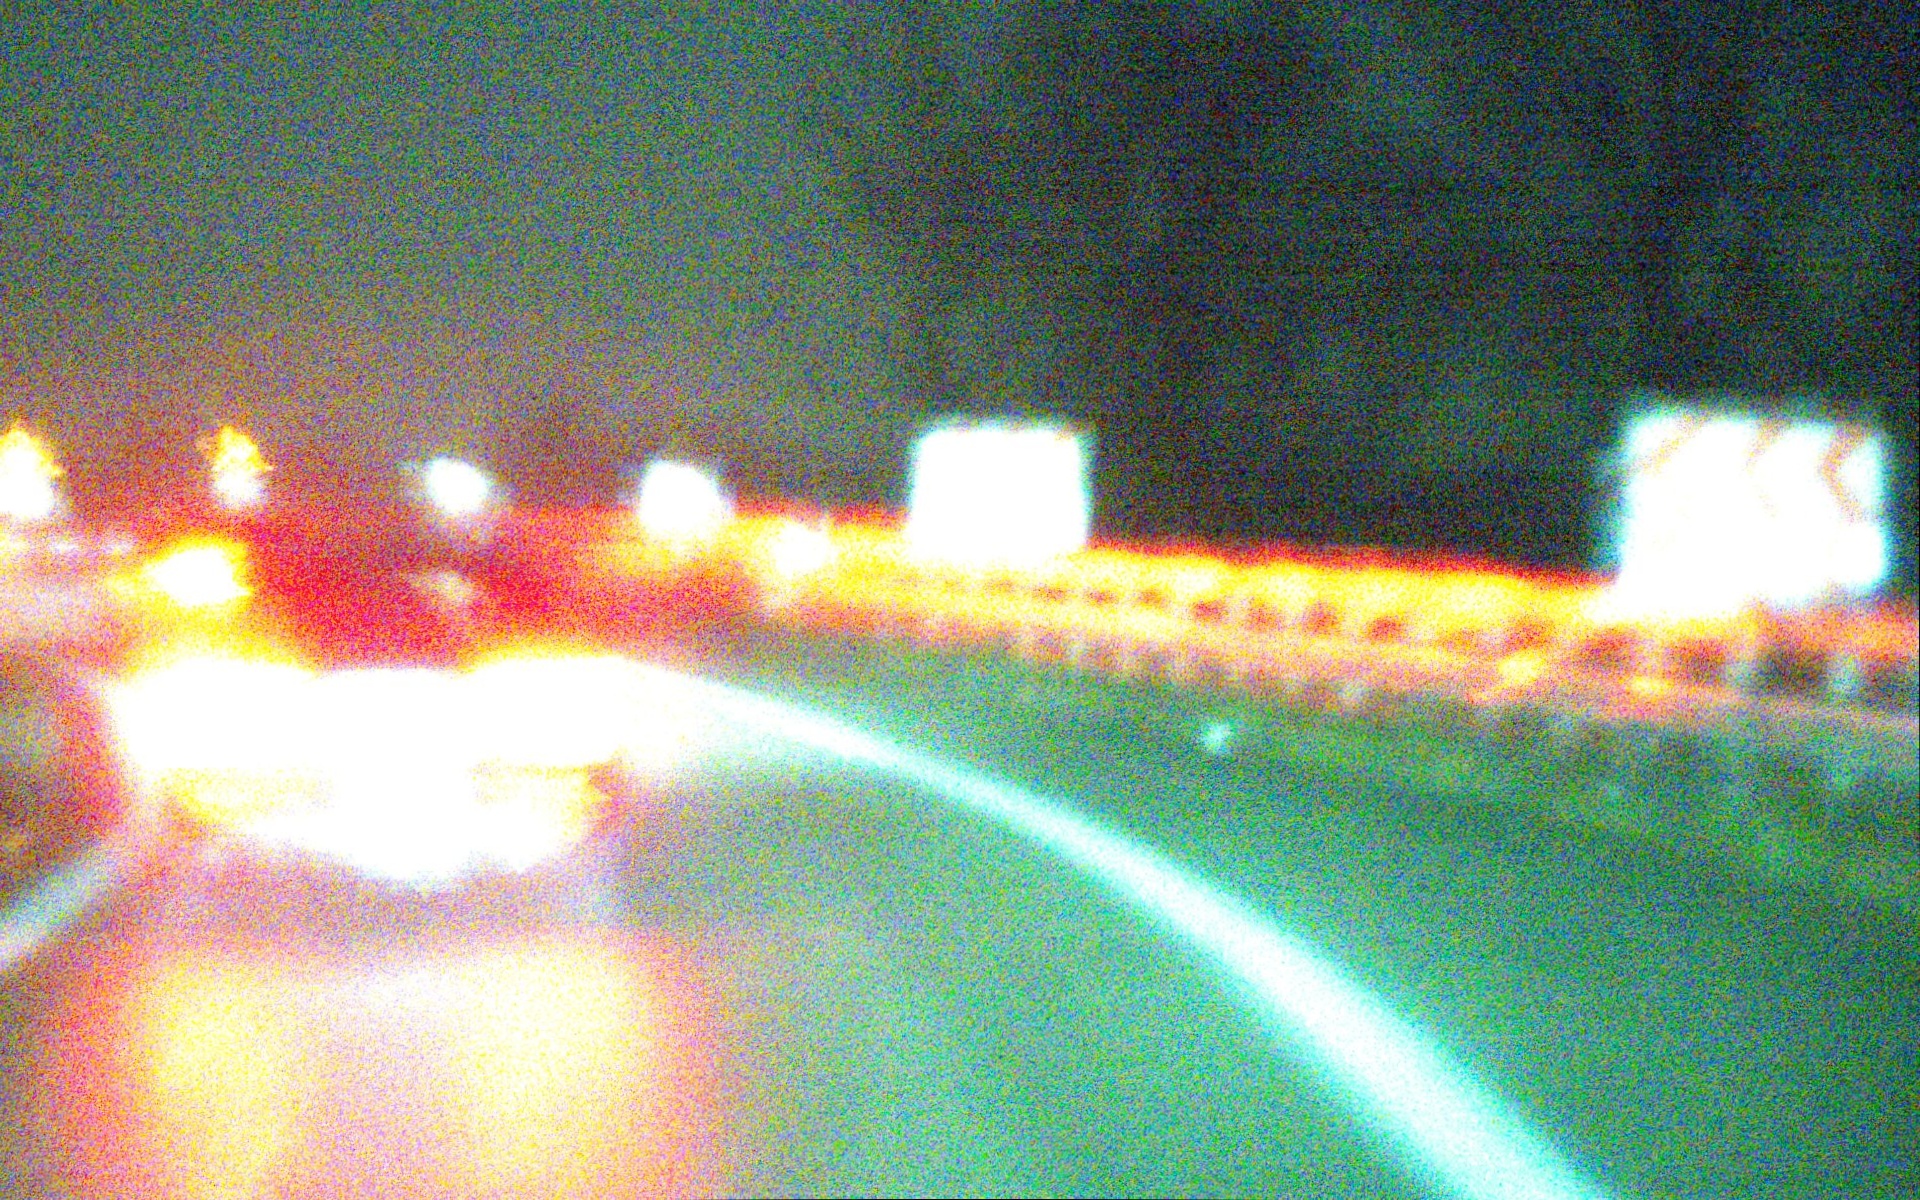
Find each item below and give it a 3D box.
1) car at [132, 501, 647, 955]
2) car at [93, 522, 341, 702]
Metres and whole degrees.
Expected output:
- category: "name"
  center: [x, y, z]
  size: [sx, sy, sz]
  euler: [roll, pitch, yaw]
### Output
- category: "car"
  center: [-2.393, 0.409, 14.766]
  size: [1.860, 1.641, 4.070]
  euler: [-1, 2, -8]
- category: "car"
  center: [-7.644, 0.072, 35.113]
  size: [1.895, 1.714, 4.047]
  euler: [-1, 1, -20]
